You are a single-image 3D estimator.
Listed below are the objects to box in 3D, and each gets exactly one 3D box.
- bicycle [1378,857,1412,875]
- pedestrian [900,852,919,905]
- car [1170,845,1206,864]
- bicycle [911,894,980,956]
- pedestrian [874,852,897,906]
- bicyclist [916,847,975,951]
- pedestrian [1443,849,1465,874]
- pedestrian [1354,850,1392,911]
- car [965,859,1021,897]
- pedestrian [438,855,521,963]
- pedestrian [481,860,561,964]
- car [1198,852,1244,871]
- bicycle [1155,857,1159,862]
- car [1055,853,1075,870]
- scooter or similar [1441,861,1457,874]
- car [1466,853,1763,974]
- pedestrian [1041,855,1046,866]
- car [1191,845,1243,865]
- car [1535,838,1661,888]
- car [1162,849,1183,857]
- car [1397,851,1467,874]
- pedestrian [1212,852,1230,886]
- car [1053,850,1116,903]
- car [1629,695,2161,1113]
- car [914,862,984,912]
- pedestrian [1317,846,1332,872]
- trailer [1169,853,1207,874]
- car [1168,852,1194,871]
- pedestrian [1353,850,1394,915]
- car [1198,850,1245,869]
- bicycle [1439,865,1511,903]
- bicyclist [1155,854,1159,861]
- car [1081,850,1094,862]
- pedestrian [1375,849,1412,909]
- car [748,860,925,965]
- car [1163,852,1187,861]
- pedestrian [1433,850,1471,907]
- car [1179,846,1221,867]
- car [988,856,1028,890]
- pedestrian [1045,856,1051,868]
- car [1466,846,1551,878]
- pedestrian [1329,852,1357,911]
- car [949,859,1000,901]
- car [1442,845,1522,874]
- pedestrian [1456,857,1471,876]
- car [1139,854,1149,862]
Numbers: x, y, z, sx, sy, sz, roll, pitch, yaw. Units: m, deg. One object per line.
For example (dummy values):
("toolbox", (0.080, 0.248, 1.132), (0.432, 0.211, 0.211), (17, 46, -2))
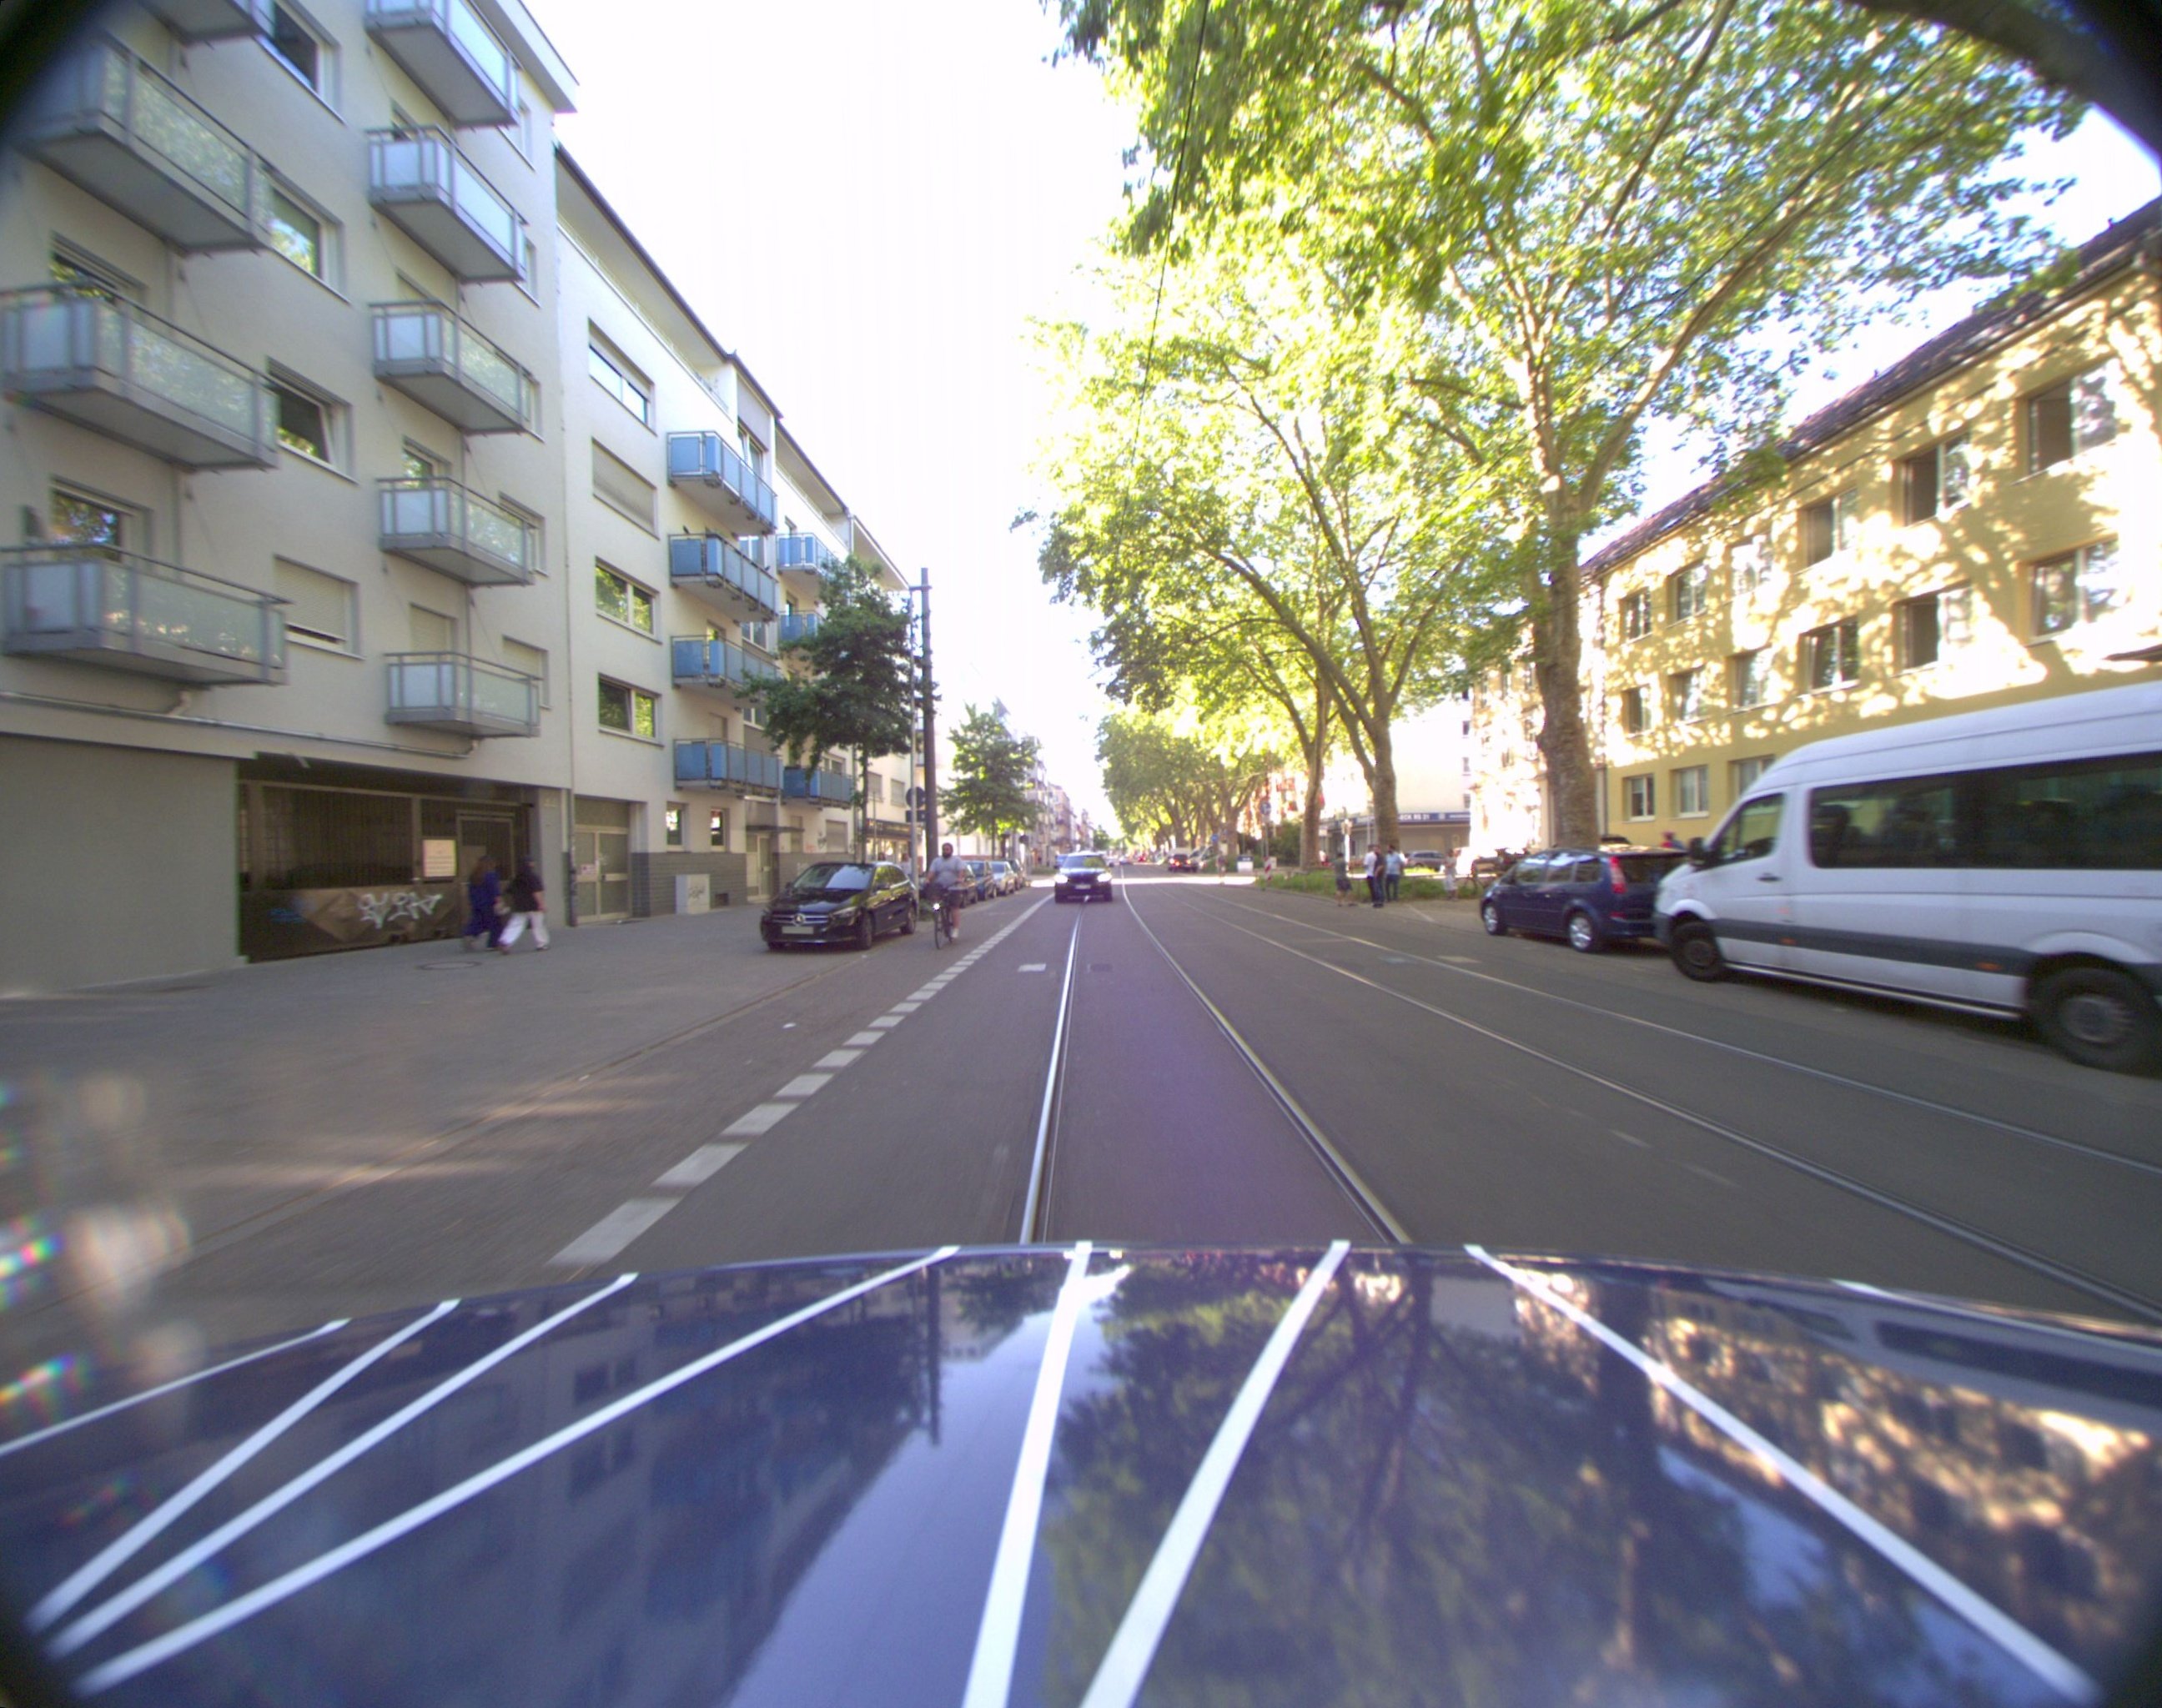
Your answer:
("bicycle", (19.794, 0.763, 47.855), (1.867, 1.056, 0.656), (-2, 1, -5))
("pedestrian", (-6.052, 0.871, 26.897), (0.477, 1.841, 0.664), (-1, 1, 0))
("car", (14.766, 0.034, 105.021), (4.660, 2.518, 2.000), (-2, 1, 3))
("bicycle", (-2.471, 1.283, 14.074), (0.790, 0.932, 1.939), (-2, 1, 3))
("pedestrian", (-6.888, 0.867, 26.800), (0.664, 1.841, 0.538), (-2, 1, -22))
("bicyclist", (-2.489, 0.801, 14.054), (0.769, 1.821, 1.099), (-2, 1, 3))
("pedestrian", (22.505, 0.431, 45.864), (0.774, 1.470, 1.069), (-2, 1, 1))
("pedestrian", (8.544, 0.773, 22.212), (0.768, 1.725, 0.715), (-1, 1, 44))
("car", (-3.820, 1.003, 33.472), (1.790, 1.528, 4.128), (1, 0, 2))
("pedestrian", (-9.805, 0.868, 12.410), (0.597, 1.668, 0.934), (1, 1, 1))
("pedestrian", (-9.145, 0.921, 12.439), (0.643, 1.628, 0.870), (1, 0, 1))
("car", (13.472, 0.714, 73.284), (3.997, 1.635, 2.000), (-2, 1, 1))
("bicycle", (13.381, 0.936, 134.259), (0.533, 0.901, 1.557), (-2, 1, 3))
("car", (-1.846, 0.851, 88.339), (1.957, 1.914, 4.000), (-2, 1, 3))
("scooter or similar", (21.895, 0.815, 45.200), (0.529, 0.749, 0.896), (-2, 1, 1))
("car", (8.275, 0.805, 12.386), (1.921, 1.553, 4.284), (-2, 1, 2))
("pedestrian", (-5.002, 0.885, 102.254), (0.590, 1.493, 0.600), (-2, 1, 3))
("car", (14.594, 0.094, 81.658), (5.133, 1.984, 1.999), (-2, 1, -2))
("car", (20.021, 0.294, 29.692), (1.998, 1.726, 4.697), (-2, 1, 5))
("car", (18.547, -0.206, 153.795), (3.997, 1.458, 2.000), (-2, 1, 1))
("car", (25.070, 0.564, 54.348), (4.152, 1.469, 1.835), (-2, 1, 2))
("pedestrian", (7.627, 0.801, 41.457), (0.700, 1.781, 0.801), (-2, 1, -10))
("car", (0.207, 0.743, 27.556), (1.998, 1.723, 4.400), (-2, 1, 3))
("car", (7.849, 0.258, 6.665), (2.112, 2.562, 6.025), (-2, 1, 5))
("car", (-4.341, 1.035, 25.519), (1.626, 1.473, 3.889), (1, 0, 0))
("pedestrian", (16.350, 0.327, 50.966), (0.724, 1.770, 0.669), (-2, 1, -6))
("trailer", (9.380, 0.779, 67.200), (2.452, 1.622, 6.584), (1, 1, 1))
("car", (9.515, 0.715, 72.681), (1.927, 1.674, 4.182), (1, 1, 1))
("pedestrian", (8.251, 0.780, 21.450), (0.715, 1.767, 0.769), (-3, 1, -32))
("car", (13.064, 0.484, 70.851), (3.997, 1.600, 1.909), (-2, 0, 1))
("bicycle", (11.649, 0.887, 22.471), (1.847, 1.073, 0.570), (-2, 1, 30))
("bicyclist", (13.414, 0.556, 134.293), (0.533, 1.206, 0.666), (-2, 1, 3))
("car", (1.244, 0.307, 138.393), (1.990, 2.085, 4.471), (-2, 1, 3))
("pedestrian", (9.277, 0.717, 22.569), (0.770, 1.725, 0.717), (-2, 1, 1))
("car", (-4.426, 0.968, 14.510), (1.763, 1.578, 4.329), (2, 1, 2))
("car", (16.832, 0.429, 135.697), (3.997, 1.458, 2.000), (-2, 1, 1))
("pedestrian", (10.751, 0.690, 22.029), (0.768, 1.600, 0.715), (-1, 1, 44))
("car", (14.143, 0.298, 90.411), (4.660, 2.292, 2.000), (-2, 1, 3))
("car", (-3.728, 0.943, 39.412), (1.724, 1.562, 4.259), (1, 0, -1))
("pedestrian", (-4.688, 1.142, 108.615), (0.697, 1.685, 0.678), (-2, 1, 3))
("car", (20.349, 0.346, 36.355), (1.783, 1.379, 4.000), (-2, 1, 0))
("pedestrian", (7.767, 0.809, 22.543), (0.712, 1.725, 0.772), (-2, 1, 21))
("car", (-4.091, 0.972, 29.485), (1.447, 1.528, 2.882), (1, 0, 2))
("car", (25.309, 0.385, 48.076), (4.011, 1.627, 1.801), (-2, -3, 2))
("pedestrian", (21.917, 0.701, 43.585), (0.544, 1.034, 0.545), (-2, 1, -30))
("car", (14.528, 0.845, 175.841), (1.998, 1.723, 4.400), (-2, 1, 3))
